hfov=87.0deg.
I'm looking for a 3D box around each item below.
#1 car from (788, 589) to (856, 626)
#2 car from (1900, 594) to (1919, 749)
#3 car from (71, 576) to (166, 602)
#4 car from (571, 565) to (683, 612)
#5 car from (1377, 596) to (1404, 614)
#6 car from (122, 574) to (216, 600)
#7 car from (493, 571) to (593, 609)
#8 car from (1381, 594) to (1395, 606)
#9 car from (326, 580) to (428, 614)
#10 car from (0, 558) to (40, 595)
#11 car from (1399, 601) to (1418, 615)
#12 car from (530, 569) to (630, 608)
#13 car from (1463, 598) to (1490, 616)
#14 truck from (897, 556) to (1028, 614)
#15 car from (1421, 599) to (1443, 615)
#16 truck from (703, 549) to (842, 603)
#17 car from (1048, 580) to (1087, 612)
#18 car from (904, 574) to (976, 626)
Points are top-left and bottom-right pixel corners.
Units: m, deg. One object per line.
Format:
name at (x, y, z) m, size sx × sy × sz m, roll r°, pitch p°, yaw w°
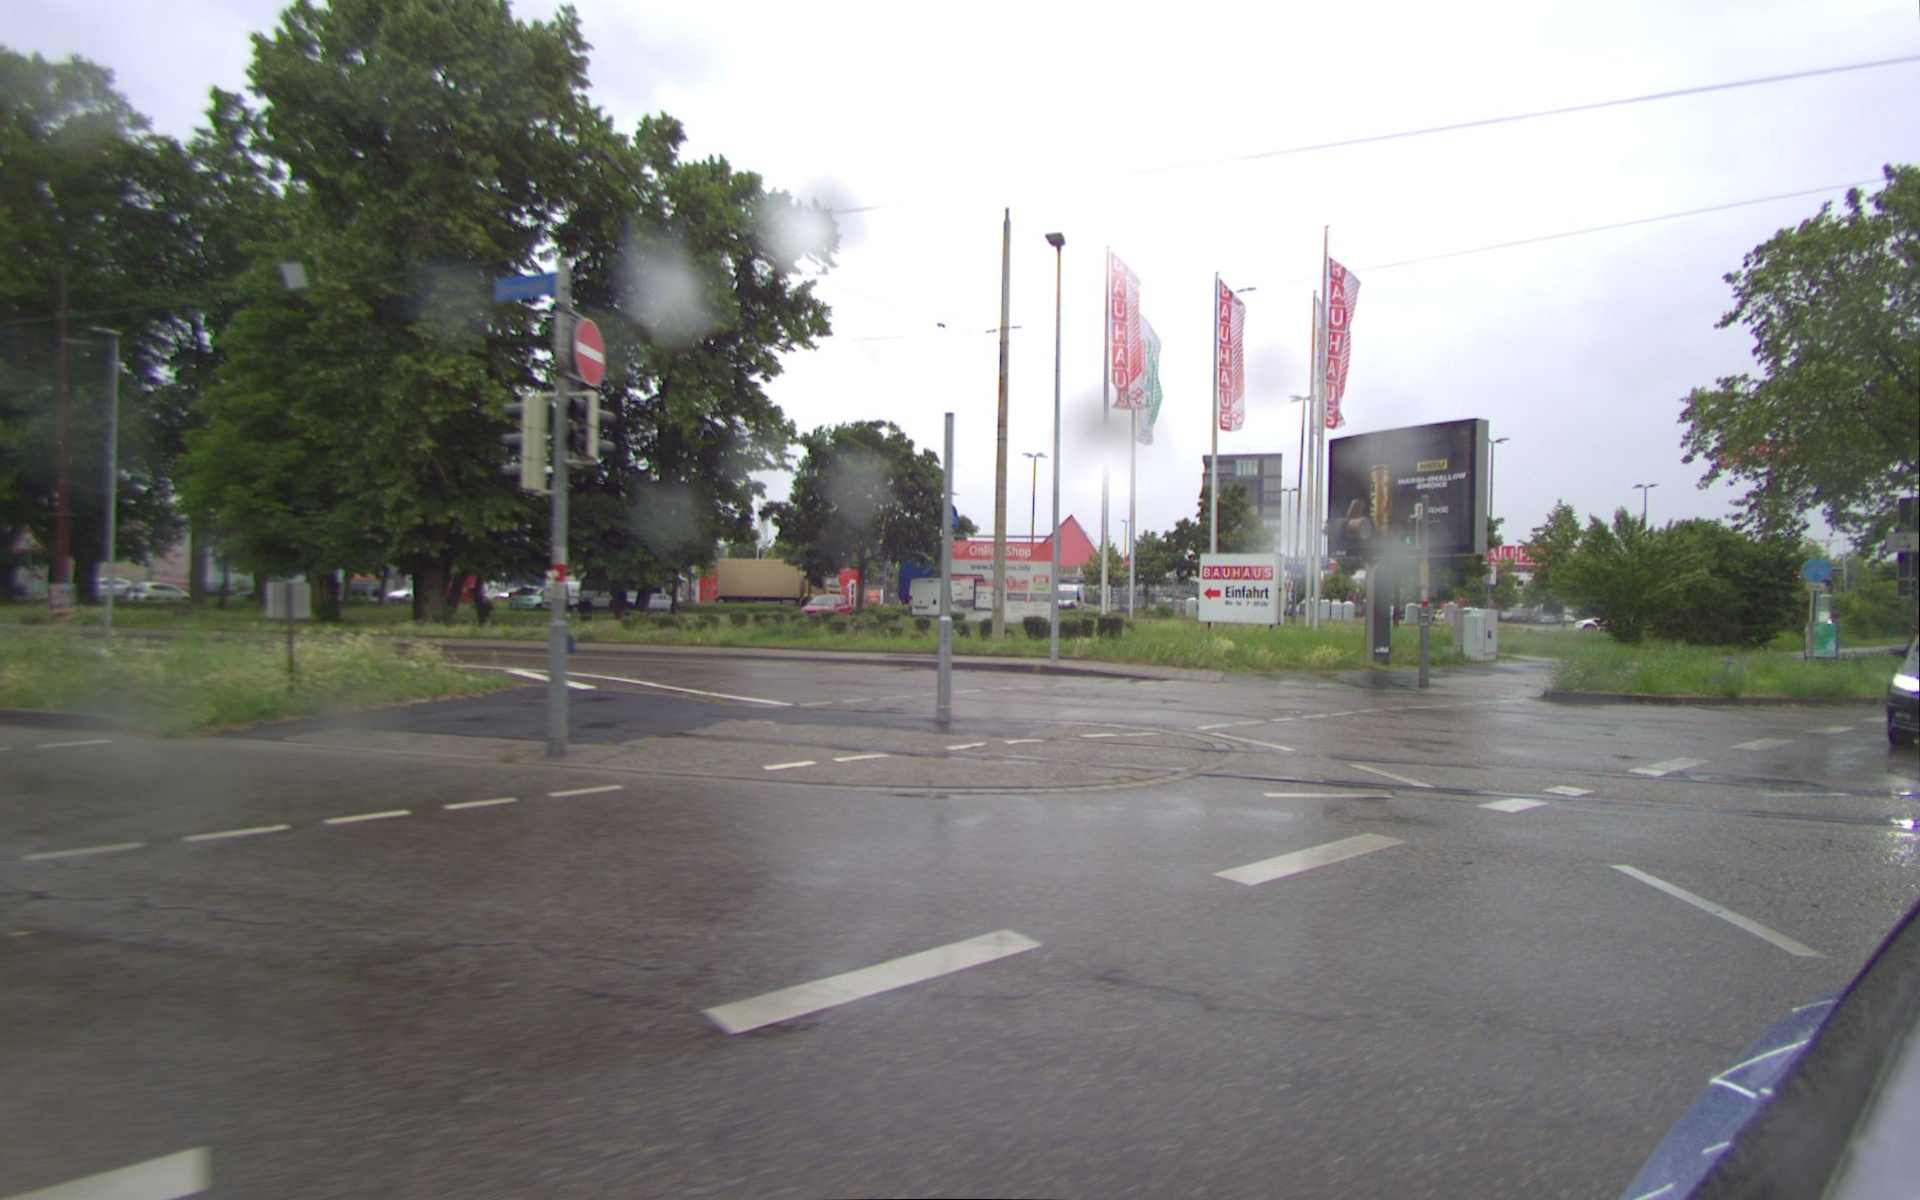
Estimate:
car at (-6.517, 0.323, 48.185) m, size 1.969 × 1.616 × 3.986 m, roll 1°, pitch 1°, yaw 12°
car at (12.273, 0.735, 11.468) m, size 4.544 × 1.626 × 1.770 m, roll 0°, pitch -2°, yaw -40°
car at (-60.619, -0.803, 73.025) m, size 1.940 × 1.753 × 5.005 m, roll 1°, pitch 1°, yaw 18°
car at (-16.687, -0.585, 51.119) m, size 2.163 × 2.231 × 6.029 m, roll 1°, pitch 1°, yaw 18°
car at (39.687, 0.474, 93.309) m, size 1.905 × 1.572 × 4.248 m, roll 1°, pitch 1°, yaw 18°
car at (-55.361, -0.907, 70.927) m, size 1.940 × 1.753 × 5.005 m, roll 1°, pitch 1°, yaw 18°
car at (-22.200, -0.532, 54.117) m, size 2.163 × 1.859 × 5.004 m, roll 1°, pitch 1°, yaw 19°
car at (67.511, -0.043, 159.682) m, size 1.908 × 1.748 × 4.240 m, roll 1°, pitch 1°, yaw 23°
car at (-33.984, -0.216, 59.167) m, size 2.163 × 1.859 × 5.004 m, roll 1°, pitch 1°, yaw 19°
car at (-58.482, -1.418, 60.586) m, size 1.940 × 2.240 × 4.729 m, roll 1°, pitch 1°, yaw 18°
car at (53.769, 0.985, 121.400) m, size 1.908 × 1.572 × 4.240 m, roll 1°, pitch 1°, yaw 23°
car at (-19.469, -0.599, 52.162) m, size 2.163 × 1.859 × 5.004 m, roll 1°, pitch 1°, yaw 19°
car at (47.766, 0.622, 93.705) m, size 1.908 × 1.572 × 4.240 m, roll 1°, pitch 1°, yaw 23°
truck at (0.141, -0.947, 64.227) m, size 7.907 × 3.514 × 2.538 m, roll 1°, pitch -1°, yaw 17°
car at (49.107, 0.754, 105.271) m, size 1.908 × 1.572 × 4.240 m, roll 1°, pitch 1°, yaw 23°
truck at (-12.807, -1.575, 68.966) m, size 9.279 × 3.514 × 2.536 m, roll 0°, pitch -1°, yaw 20°
car at (8.500, -0.326, 79.662) m, size 2.297 × 2.391 × 5.492 m, roll 1°, pitch 0°, yaw 14°
car at (-0.848, -0.040, 46.532) m, size 2.158 × 2.232 × 5.084 m, roll 1°, pitch 1°, yaw 12°
